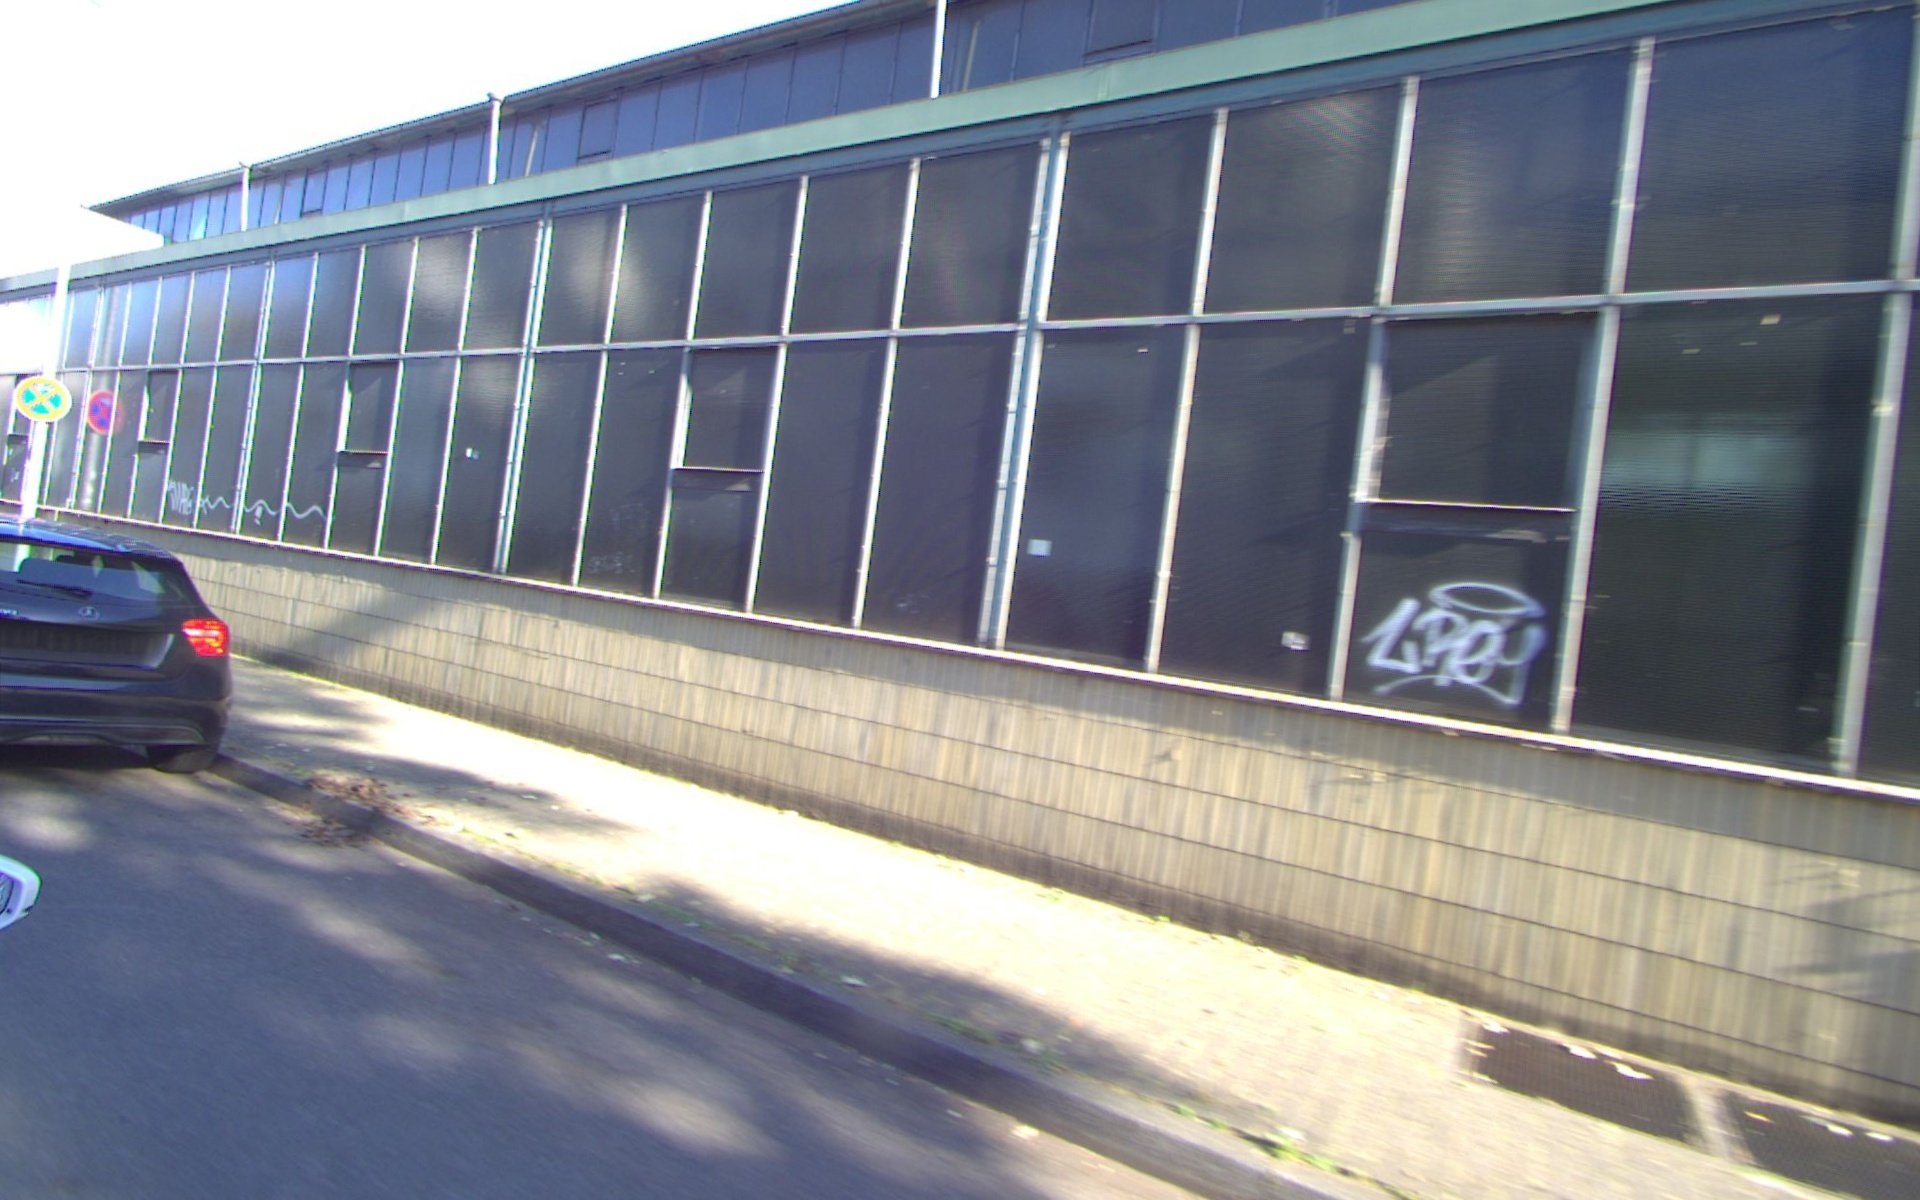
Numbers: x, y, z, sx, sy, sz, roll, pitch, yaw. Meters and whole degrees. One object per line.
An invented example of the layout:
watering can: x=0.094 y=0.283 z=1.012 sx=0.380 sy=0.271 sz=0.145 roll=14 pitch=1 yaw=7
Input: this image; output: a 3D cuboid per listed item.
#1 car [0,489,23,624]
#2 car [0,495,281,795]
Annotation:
car: x=-10.838 y=-0.496 z=9.359 sx=4.331 sy=1.604 sz=1.812 roll=6 pitch=-4 yaw=31
car: x=-6.585 y=0.070 z=6.572 sx=4.546 sy=1.507 sz=1.755 roll=6 pitch=-4 yaw=33
